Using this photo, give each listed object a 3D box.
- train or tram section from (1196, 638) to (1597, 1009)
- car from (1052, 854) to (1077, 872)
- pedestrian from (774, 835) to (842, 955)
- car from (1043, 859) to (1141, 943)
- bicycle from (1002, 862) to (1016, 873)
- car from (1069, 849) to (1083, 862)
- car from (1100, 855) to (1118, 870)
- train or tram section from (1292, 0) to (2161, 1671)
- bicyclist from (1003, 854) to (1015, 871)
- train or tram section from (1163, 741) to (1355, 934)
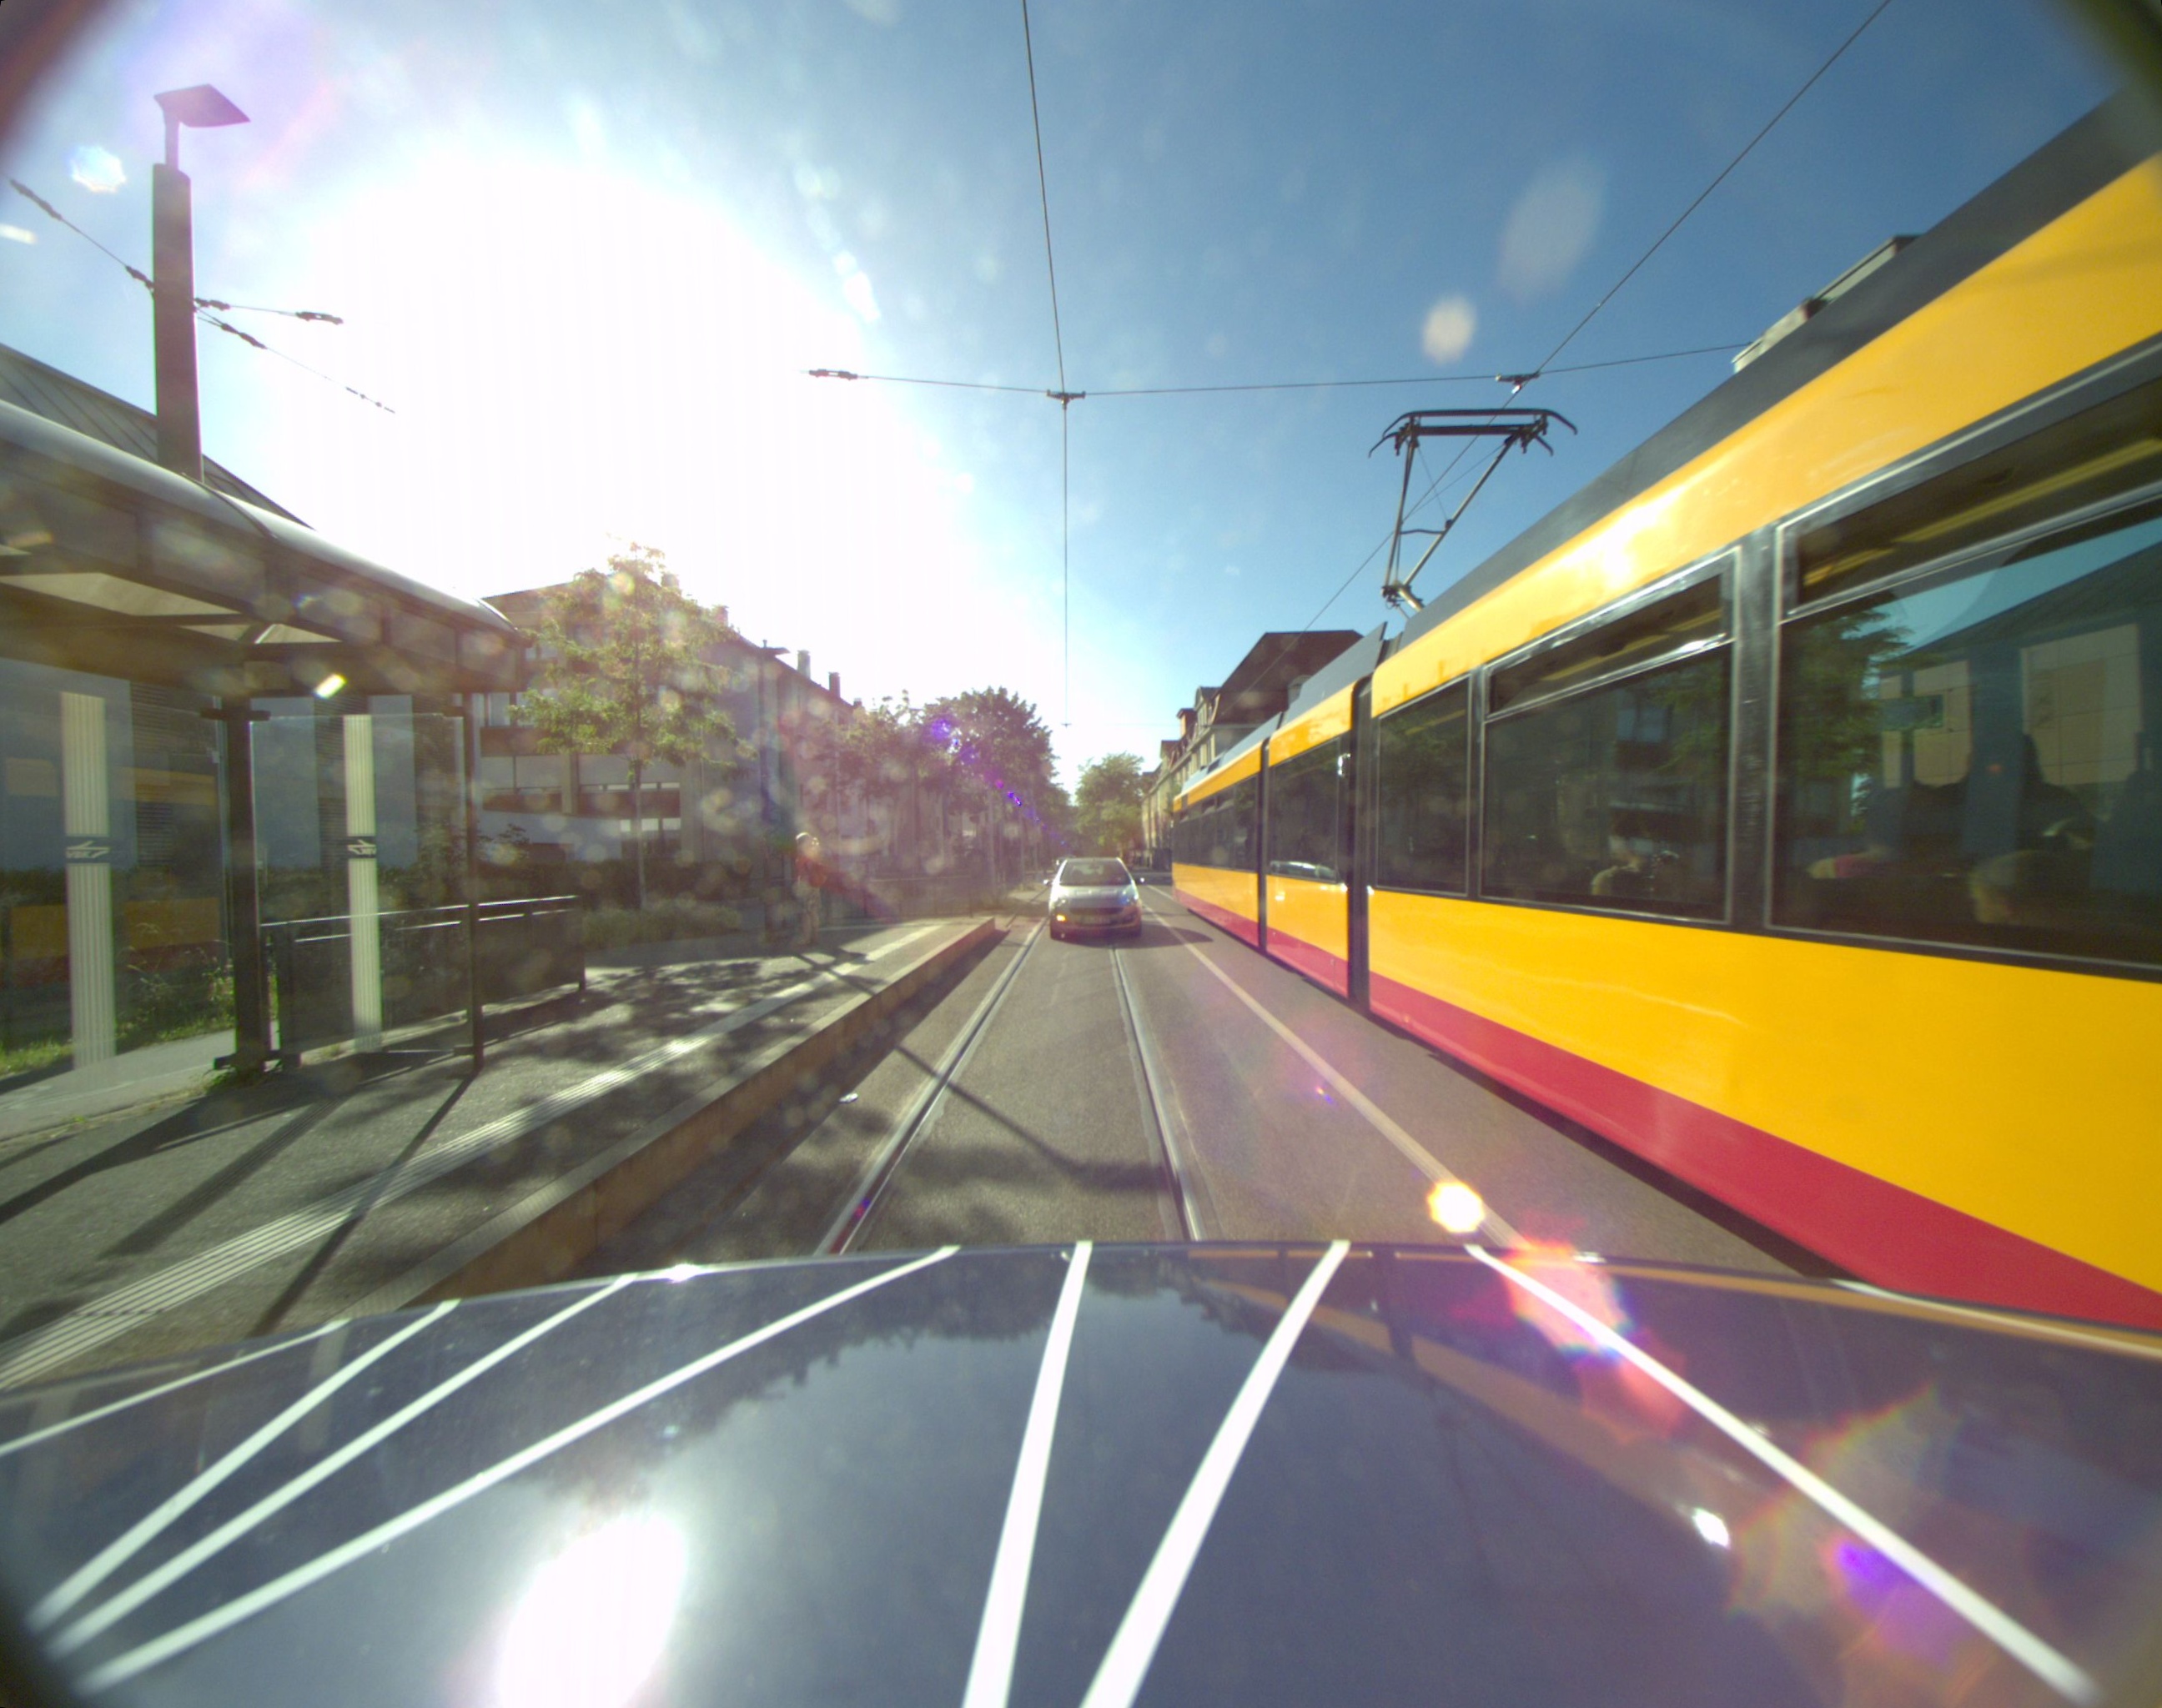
[{"bbox_3d":[3.507,-0.294,10.560,2.811,3.439,6.668,-2,0,1],"label":"train or tram section"},{"bbox_3d":[-1.481,0.756,66.577,1.743,1.450,3.691,-2,0,-8],"label":"car"},{"bbox_3d":[-4.035,0.592,11.289,0.673,1.694,0.690,-3,1,0],"label":"pedestrian"},{"bbox_3d":[0.207,0.869,15.586,1.742,1.450,3.693,-2,0,0],"label":"car"},{"bbox_3d":[-6.276,1.172,66.384,0.826,0.880,2.199,-1,0,5],"label":"bicycle"},{"bbox_3d":[-0.756,0.228,117.685,1.825,1.751,3.692,-3,0,-3],"label":"car"},{"bbox_3d":[2.878,0.902,78.700,1.742,1.450,4.405,-2,0,0],"label":"car"},{"bbox_3d":[3.395,-0.261,3.839,2.811,3.439,6.668,-2,0,1],"label":"train or tram section"},{"bbox_3d":[-6.290,0.745,66.329,0.818,1.491,1.258,-1,0,5],"label":"bicyclist"},{"bbox_3d":[3.619,-0.308,17.248,2.811,3.439,6.668,-2,0,1],"label":"train or tram section"}]
